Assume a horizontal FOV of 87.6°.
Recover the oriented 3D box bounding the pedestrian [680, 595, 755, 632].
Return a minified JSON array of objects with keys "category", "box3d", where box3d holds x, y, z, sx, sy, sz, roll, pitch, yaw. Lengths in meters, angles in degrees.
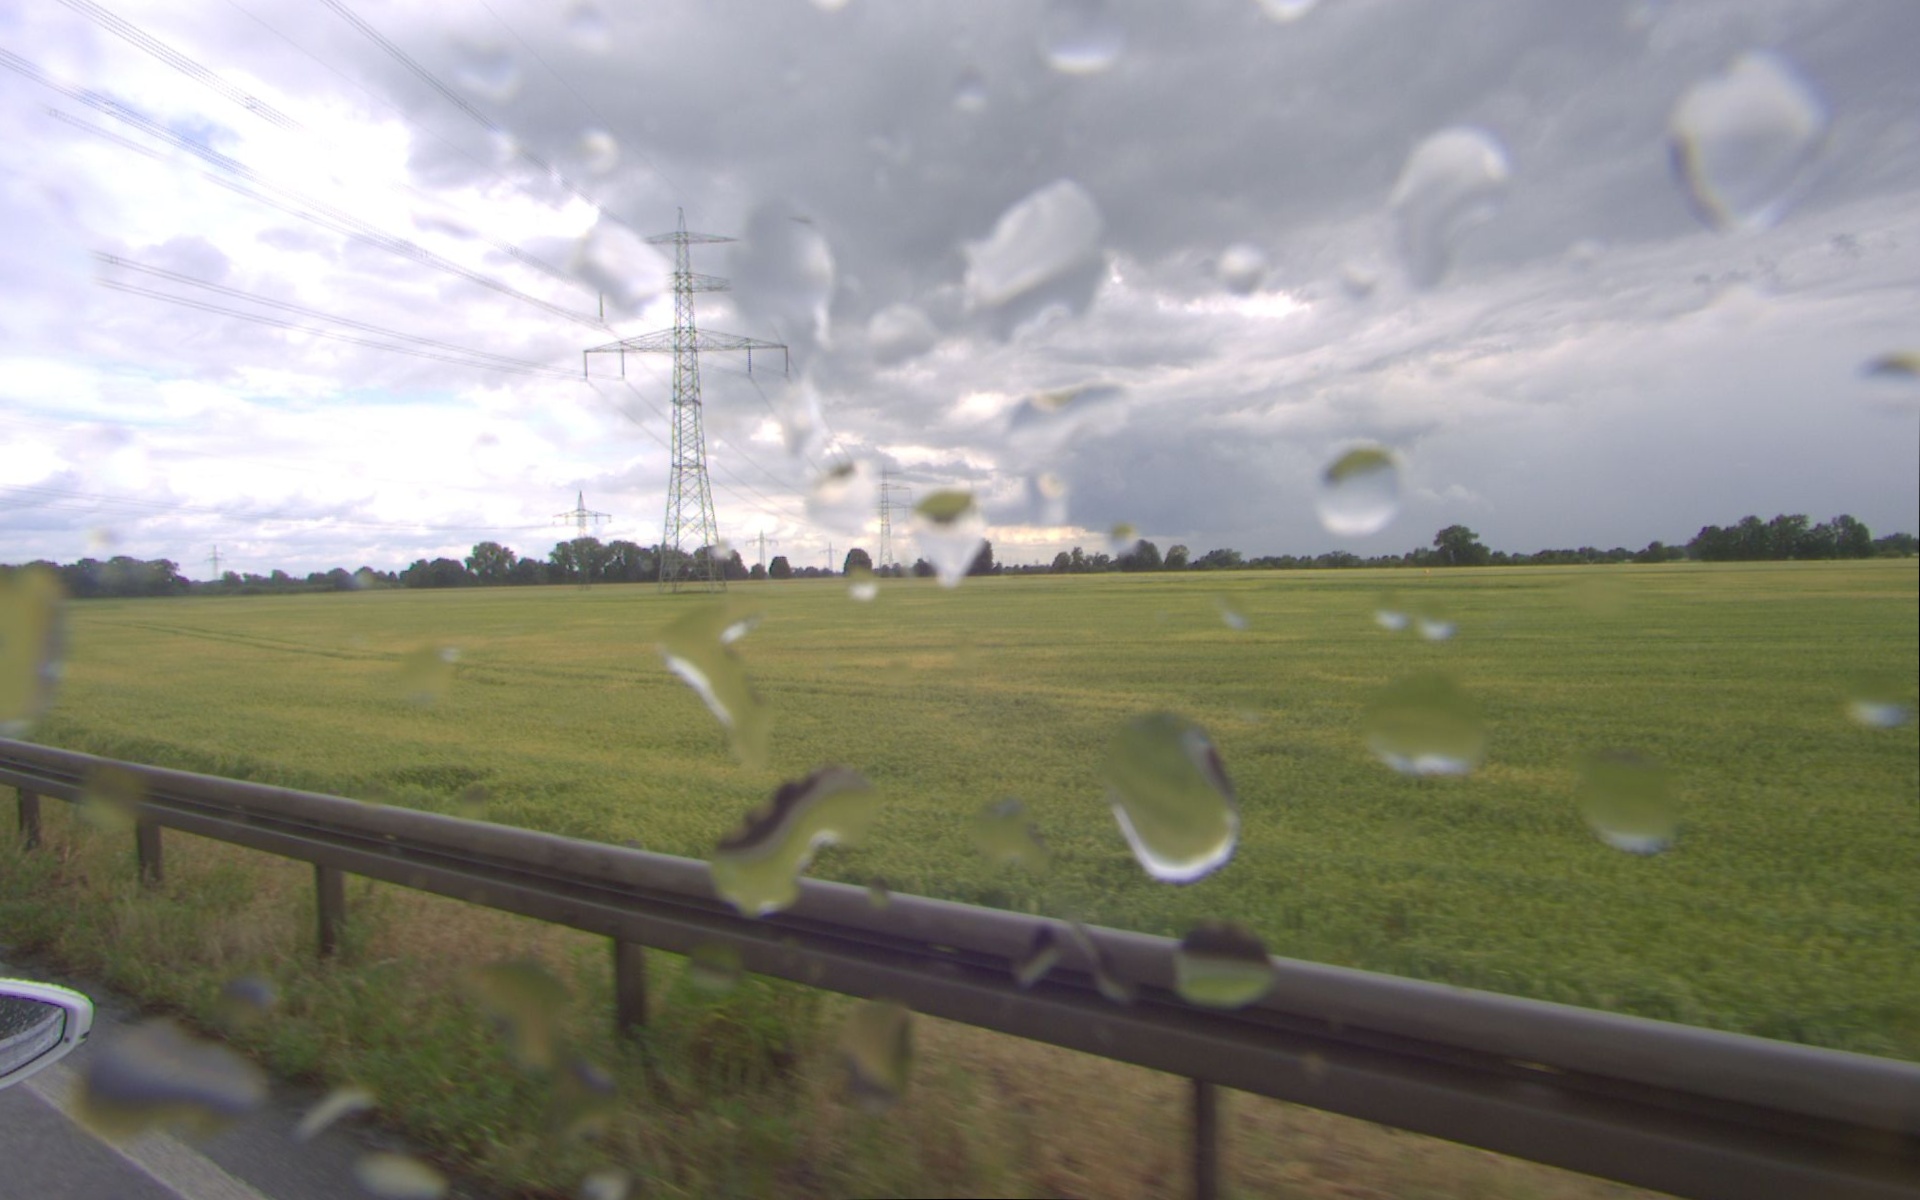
[{"category":"pedestrian","box3d":[-14.031,0.817,57.899,3.941,2.039,1.991,-1,-2,31]}]
